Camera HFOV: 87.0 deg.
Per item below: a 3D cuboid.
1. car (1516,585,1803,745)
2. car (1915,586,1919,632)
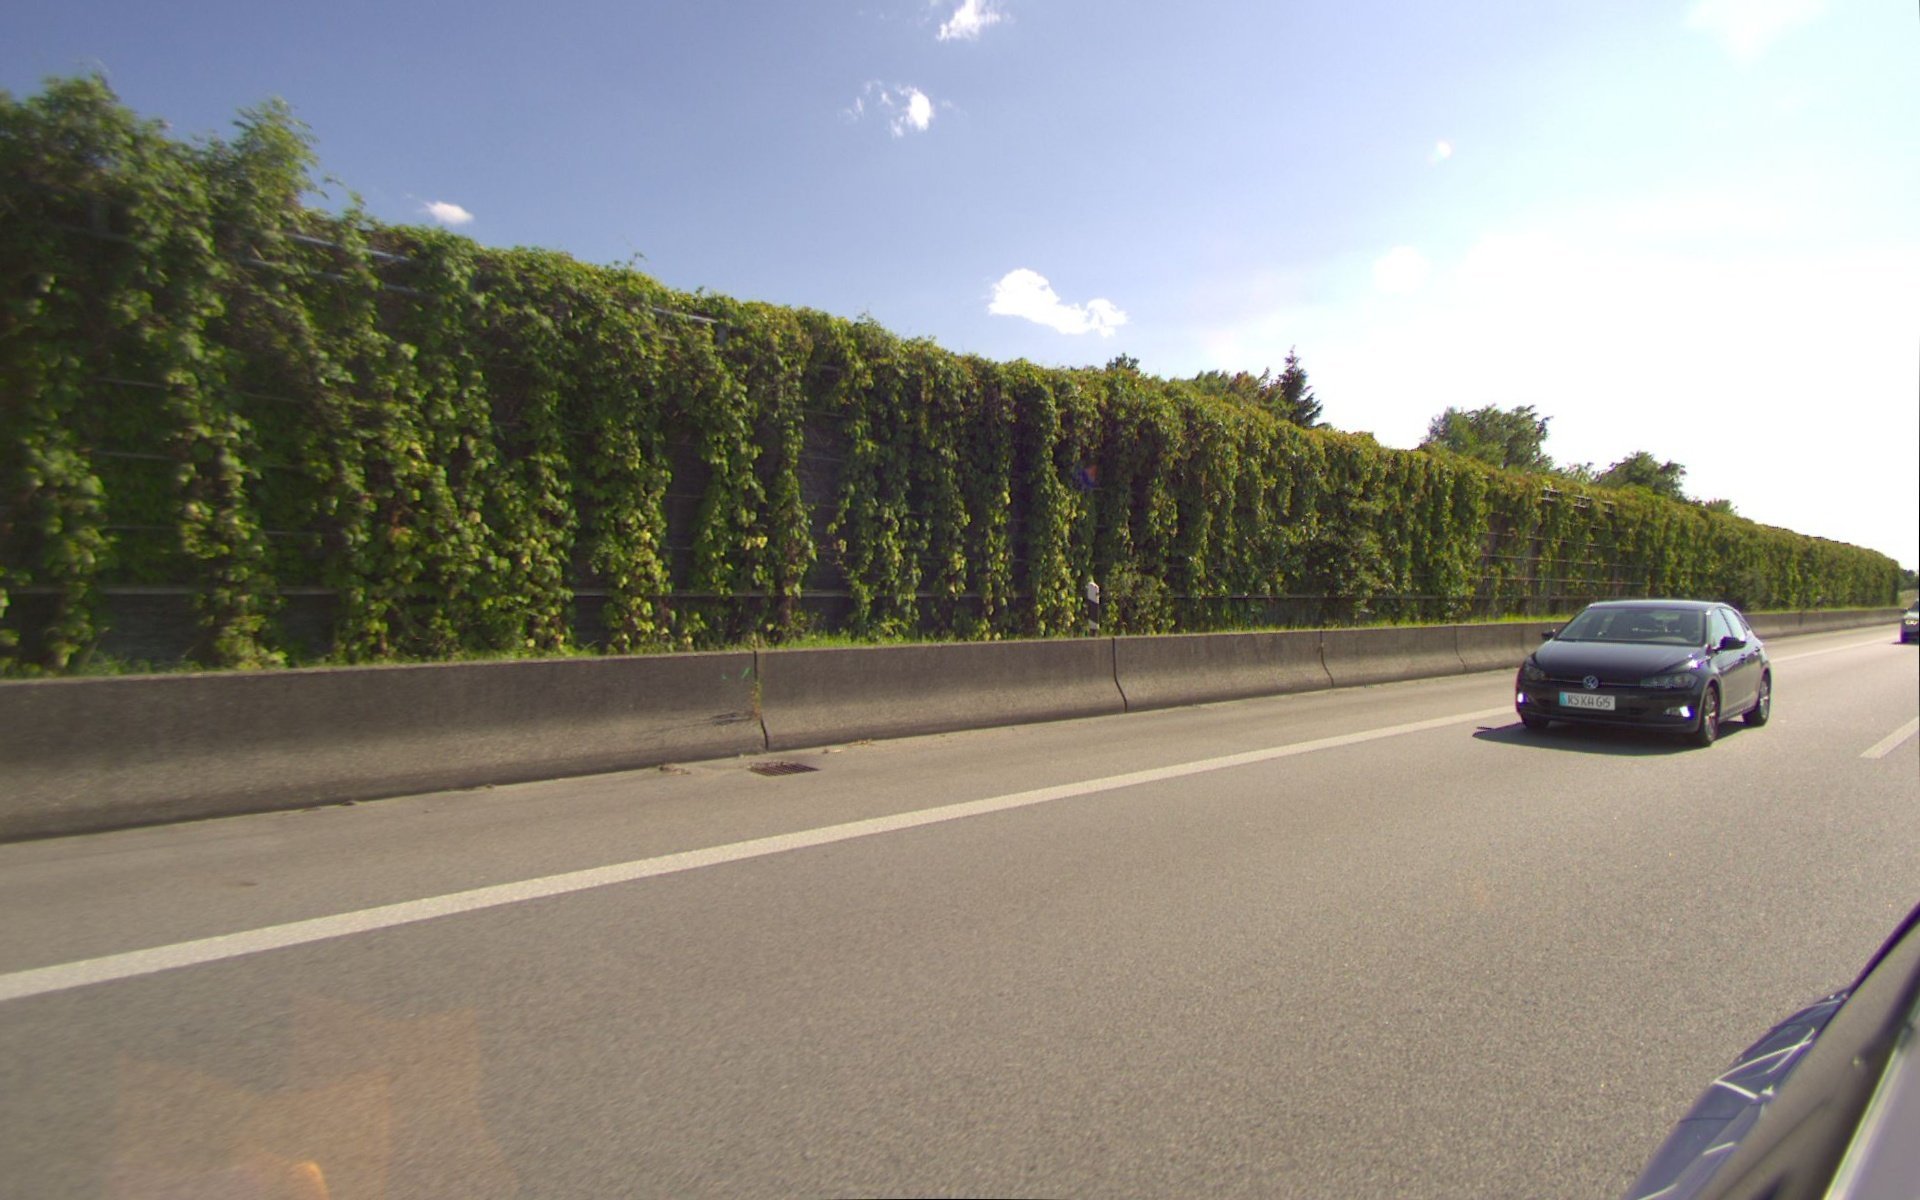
[{"bbox_3d":[8.086,0.581,11.524,4.465,1.472,1.668,0,1,-41],"label":"car"},{"bbox_3d":[33.726,0.345,34.184,4.901,1.514,1.688,1,2,-42],"label":"car"}]
